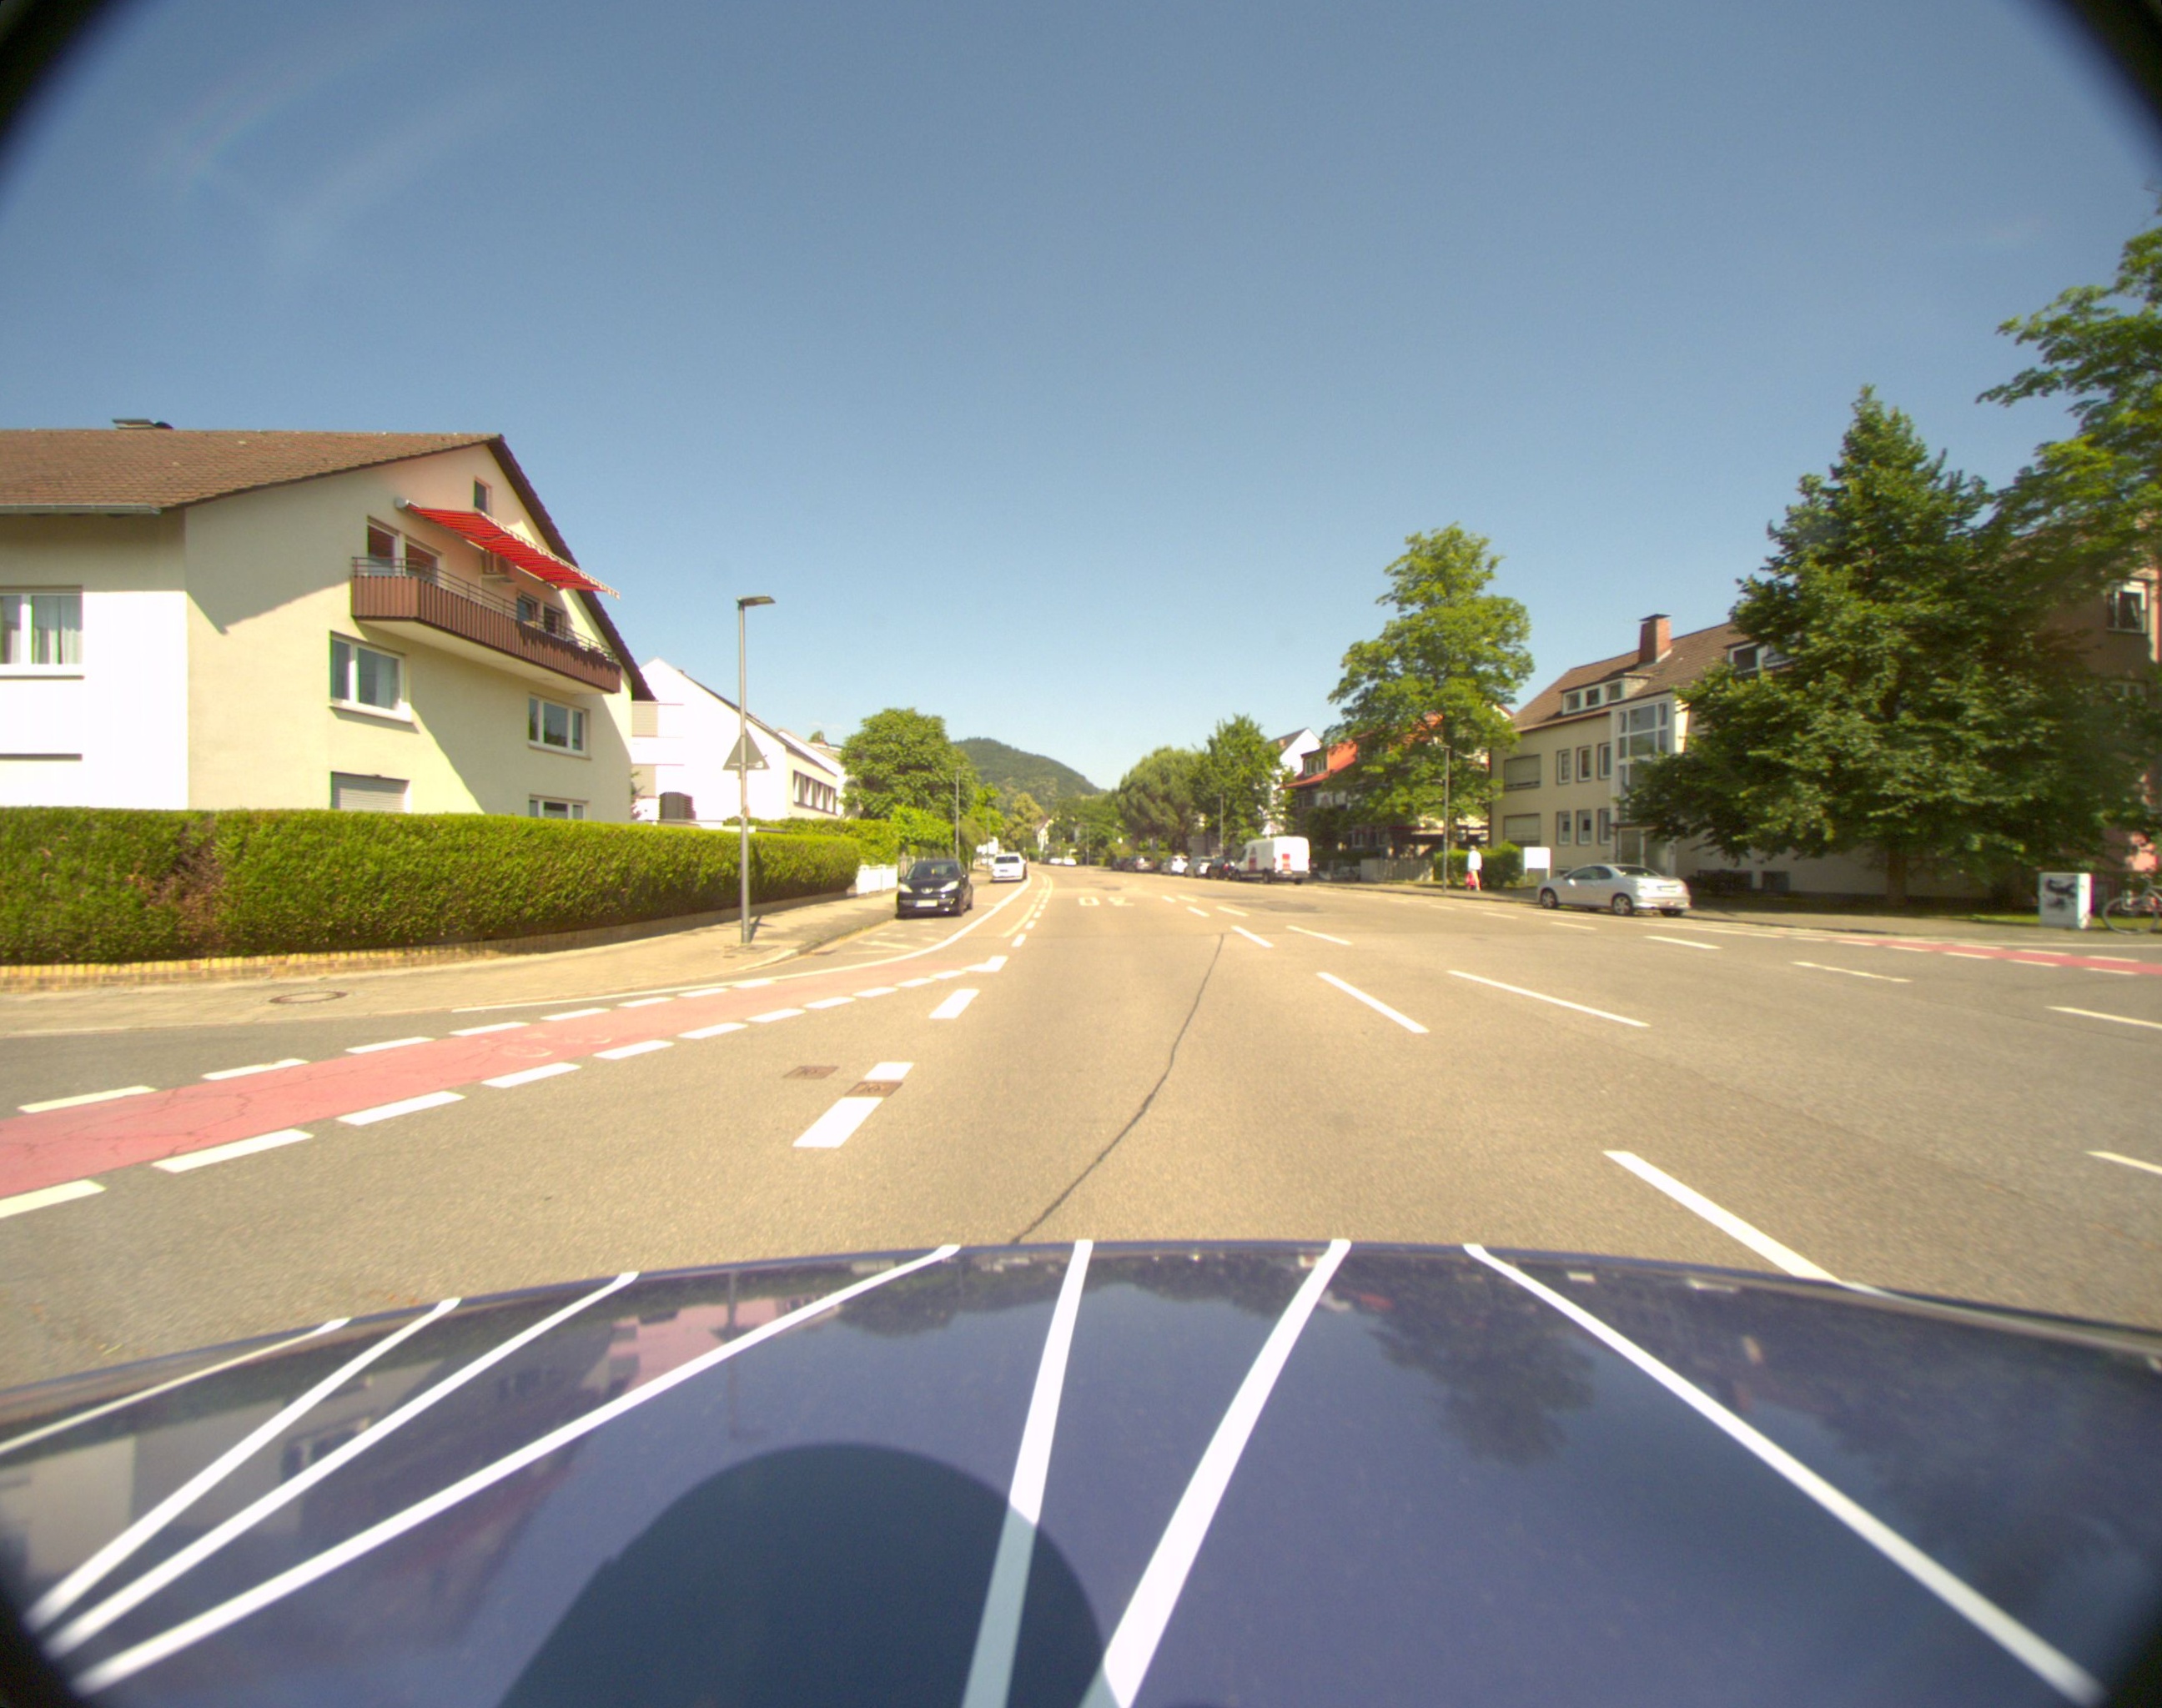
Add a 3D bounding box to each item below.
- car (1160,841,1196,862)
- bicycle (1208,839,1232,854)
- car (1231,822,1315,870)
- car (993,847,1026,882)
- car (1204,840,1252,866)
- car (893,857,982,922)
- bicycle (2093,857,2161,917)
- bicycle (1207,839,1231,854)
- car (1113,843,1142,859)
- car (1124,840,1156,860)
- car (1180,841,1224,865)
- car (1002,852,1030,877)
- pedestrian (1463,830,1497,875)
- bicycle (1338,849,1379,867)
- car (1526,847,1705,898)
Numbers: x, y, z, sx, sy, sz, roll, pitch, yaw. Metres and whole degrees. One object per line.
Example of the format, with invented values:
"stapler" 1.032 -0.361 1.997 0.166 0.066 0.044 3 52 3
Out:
"car" 7.456 -0.205 58.949 1.726 1.550 3.996 1 0 -8
"bicycle" 13.066 -0.668 71.324 2.179 1.375 0.502 1 1 -12
"car" 10.537 -0.433 42.256 2.096 2.482 5.945 0 0 -12
"car" -4.224 0.582 45.546 1.767 1.816 4.595 -2 2 -3
"car" 9.221 -0.048 47.968 1.726 1.550 3.996 1 0 -8
"car" -3.736 0.863 20.401 1.621 1.382 3.998 -3 1 -1
"bicycle" 19.898 0.600 13.841 1.711 1.074 0.378 0 1 40
"bicycle" 12.841 -0.695 70.711 2.179 1.375 0.502 1 1 -12
"car" 4.573 -0.307 75.205 1.847 1.449 4.189 1 0 -10
"car" 5.355 -0.345 69.795 1.847 1.754 4.581 1 0 -10
"car" 8.411 -0.097 53.117 1.726 1.550 4.668 1 0 -8
"car" -4.322 0.697 51.149 1.767 1.584 4.311 0 0 -3
"pedestrian" 15.970 -0.051 30.445 0.976 1.770 0.725 0 2 -4
"bicycle" 15.721 0.240 43.084 2.074 0.995 0.775 -1 1 -7
"car" 14.447 0.443 20.851 1.726 1.259 3.996 1 0 -8
